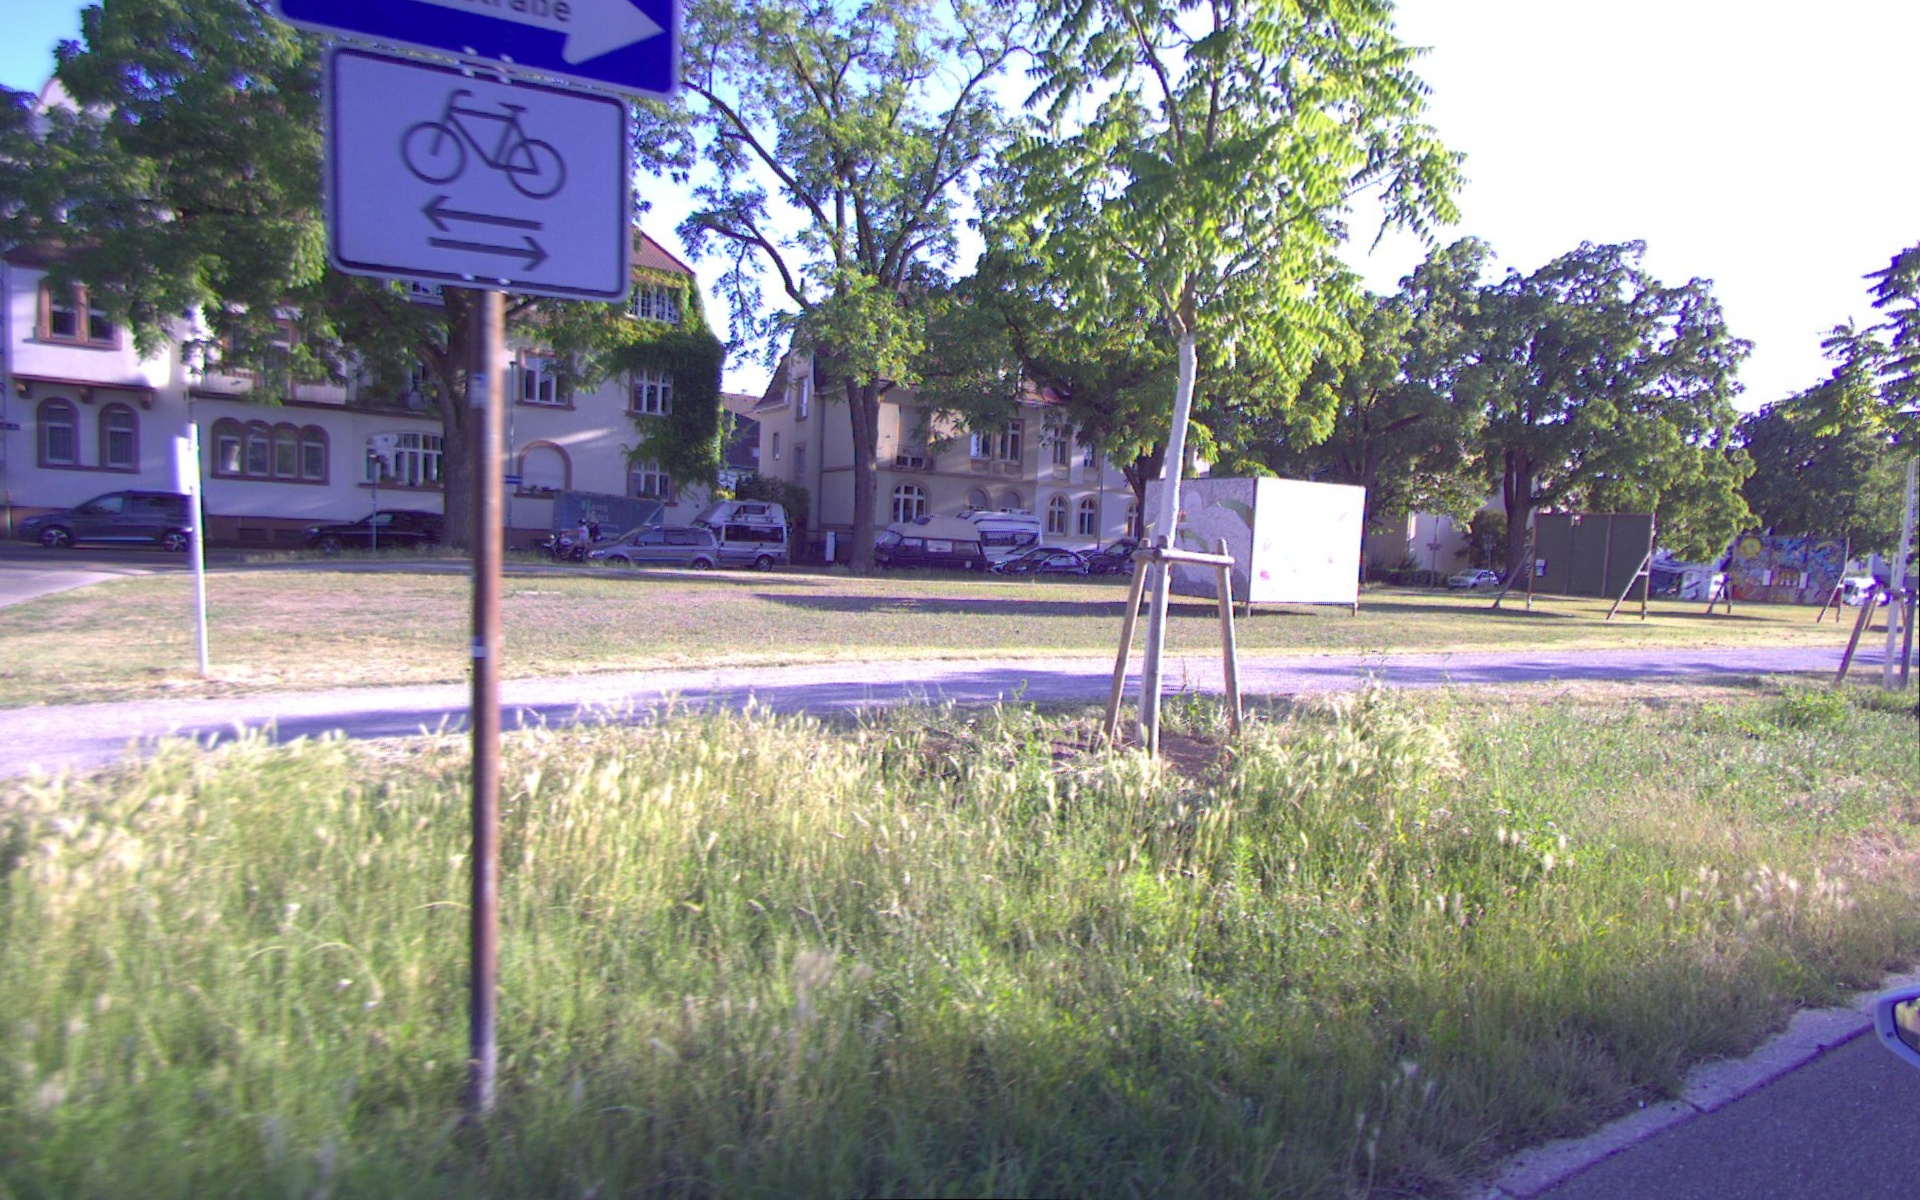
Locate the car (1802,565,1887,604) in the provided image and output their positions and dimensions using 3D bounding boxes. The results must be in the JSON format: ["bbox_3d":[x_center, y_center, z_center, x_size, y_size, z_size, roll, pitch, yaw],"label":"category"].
[{"bbox_3d":[72.380,-1.272,82.174,6.810,3.033,3.145,1,2,-30],"label":"car"}]

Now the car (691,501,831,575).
[{"bbox_3d":[-8.006,-2.462,40.490,5.125,2.709,1.984,0,4,-30],"label":"car"}]

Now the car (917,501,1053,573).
[{"bbox_3d":[1.167,-2.792,45.933,5.750,2.961,2.425,1,2,-31],"label":"car"}]

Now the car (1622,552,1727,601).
[{"bbox_3d":[48.208,-1.568,67.741,6.810,3.033,3.145,1,2,-30],"label":"car"}]

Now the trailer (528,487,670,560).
[{"bbox_3d":[-13.379,-2.792,37.237,4.668,2.461,1.984,0,4,-30],"label":"trailer"}]

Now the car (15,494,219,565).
[{"bbox_3d":[-25.206,-2.082,30.298,4.447,1.902,1.981,0,4,-33],"label":"car"}]

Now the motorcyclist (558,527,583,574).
[{"bbox_3d":[-13.275,-1.687,34.201,0.774,1.552,0.928,1,2,-22],"label":"motorcyclist"}]

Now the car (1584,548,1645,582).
[{"bbox_3d":[48.734,-2.591,74.777,4.312,2.442,1.984,1,2,-30],"label":"car"}]

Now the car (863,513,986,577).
[{"bbox_3d":[-1.310,-2.044,37.671,4.262,2.205,1.676,0,4,-30],"label":"car"}]

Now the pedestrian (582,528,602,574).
[{"bbox_3d":[-12.635,-1.677,34.468,0.590,1.552,0.927,1,2,-22],"label":"pedestrian"}]

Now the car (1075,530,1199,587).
[{"bbox_3d":[7.650,-1.768,43.163,5.126,2.281,1.983,0,4,-31],"label":"car"}]

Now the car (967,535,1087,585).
[{"bbox_3d":[2.705,-1.588,40.294,4.430,1.817,1.984,0,4,-30],"label":"car"}]

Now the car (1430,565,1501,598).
[{"bbox_3d":[32.925,-1.176,65.383,4.432,2.041,1.983,1,2,-31],"label":"car"}]

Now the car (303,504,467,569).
[{"bbox_3d":[-19.398,-2.133,34.011,4.697,1.979,1.982,0,4,-32],"label":"car"}]

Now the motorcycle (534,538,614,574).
[{"bbox_3d":[-13.156,-1.481,34.261,2.484,1.141,0.942,1,2,-23],"label":"motorcycle"}]

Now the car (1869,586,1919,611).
[{"bbox_3d":[85.558,-0.105,90.729,6.810,2.177,3.145,1,2,-30],"label":"car"}]

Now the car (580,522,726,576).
[{"bbox_3d":[-9.931,-1.645,32.592,4.262,1.581,1.676,0,4,-30],"label":"car"}]
